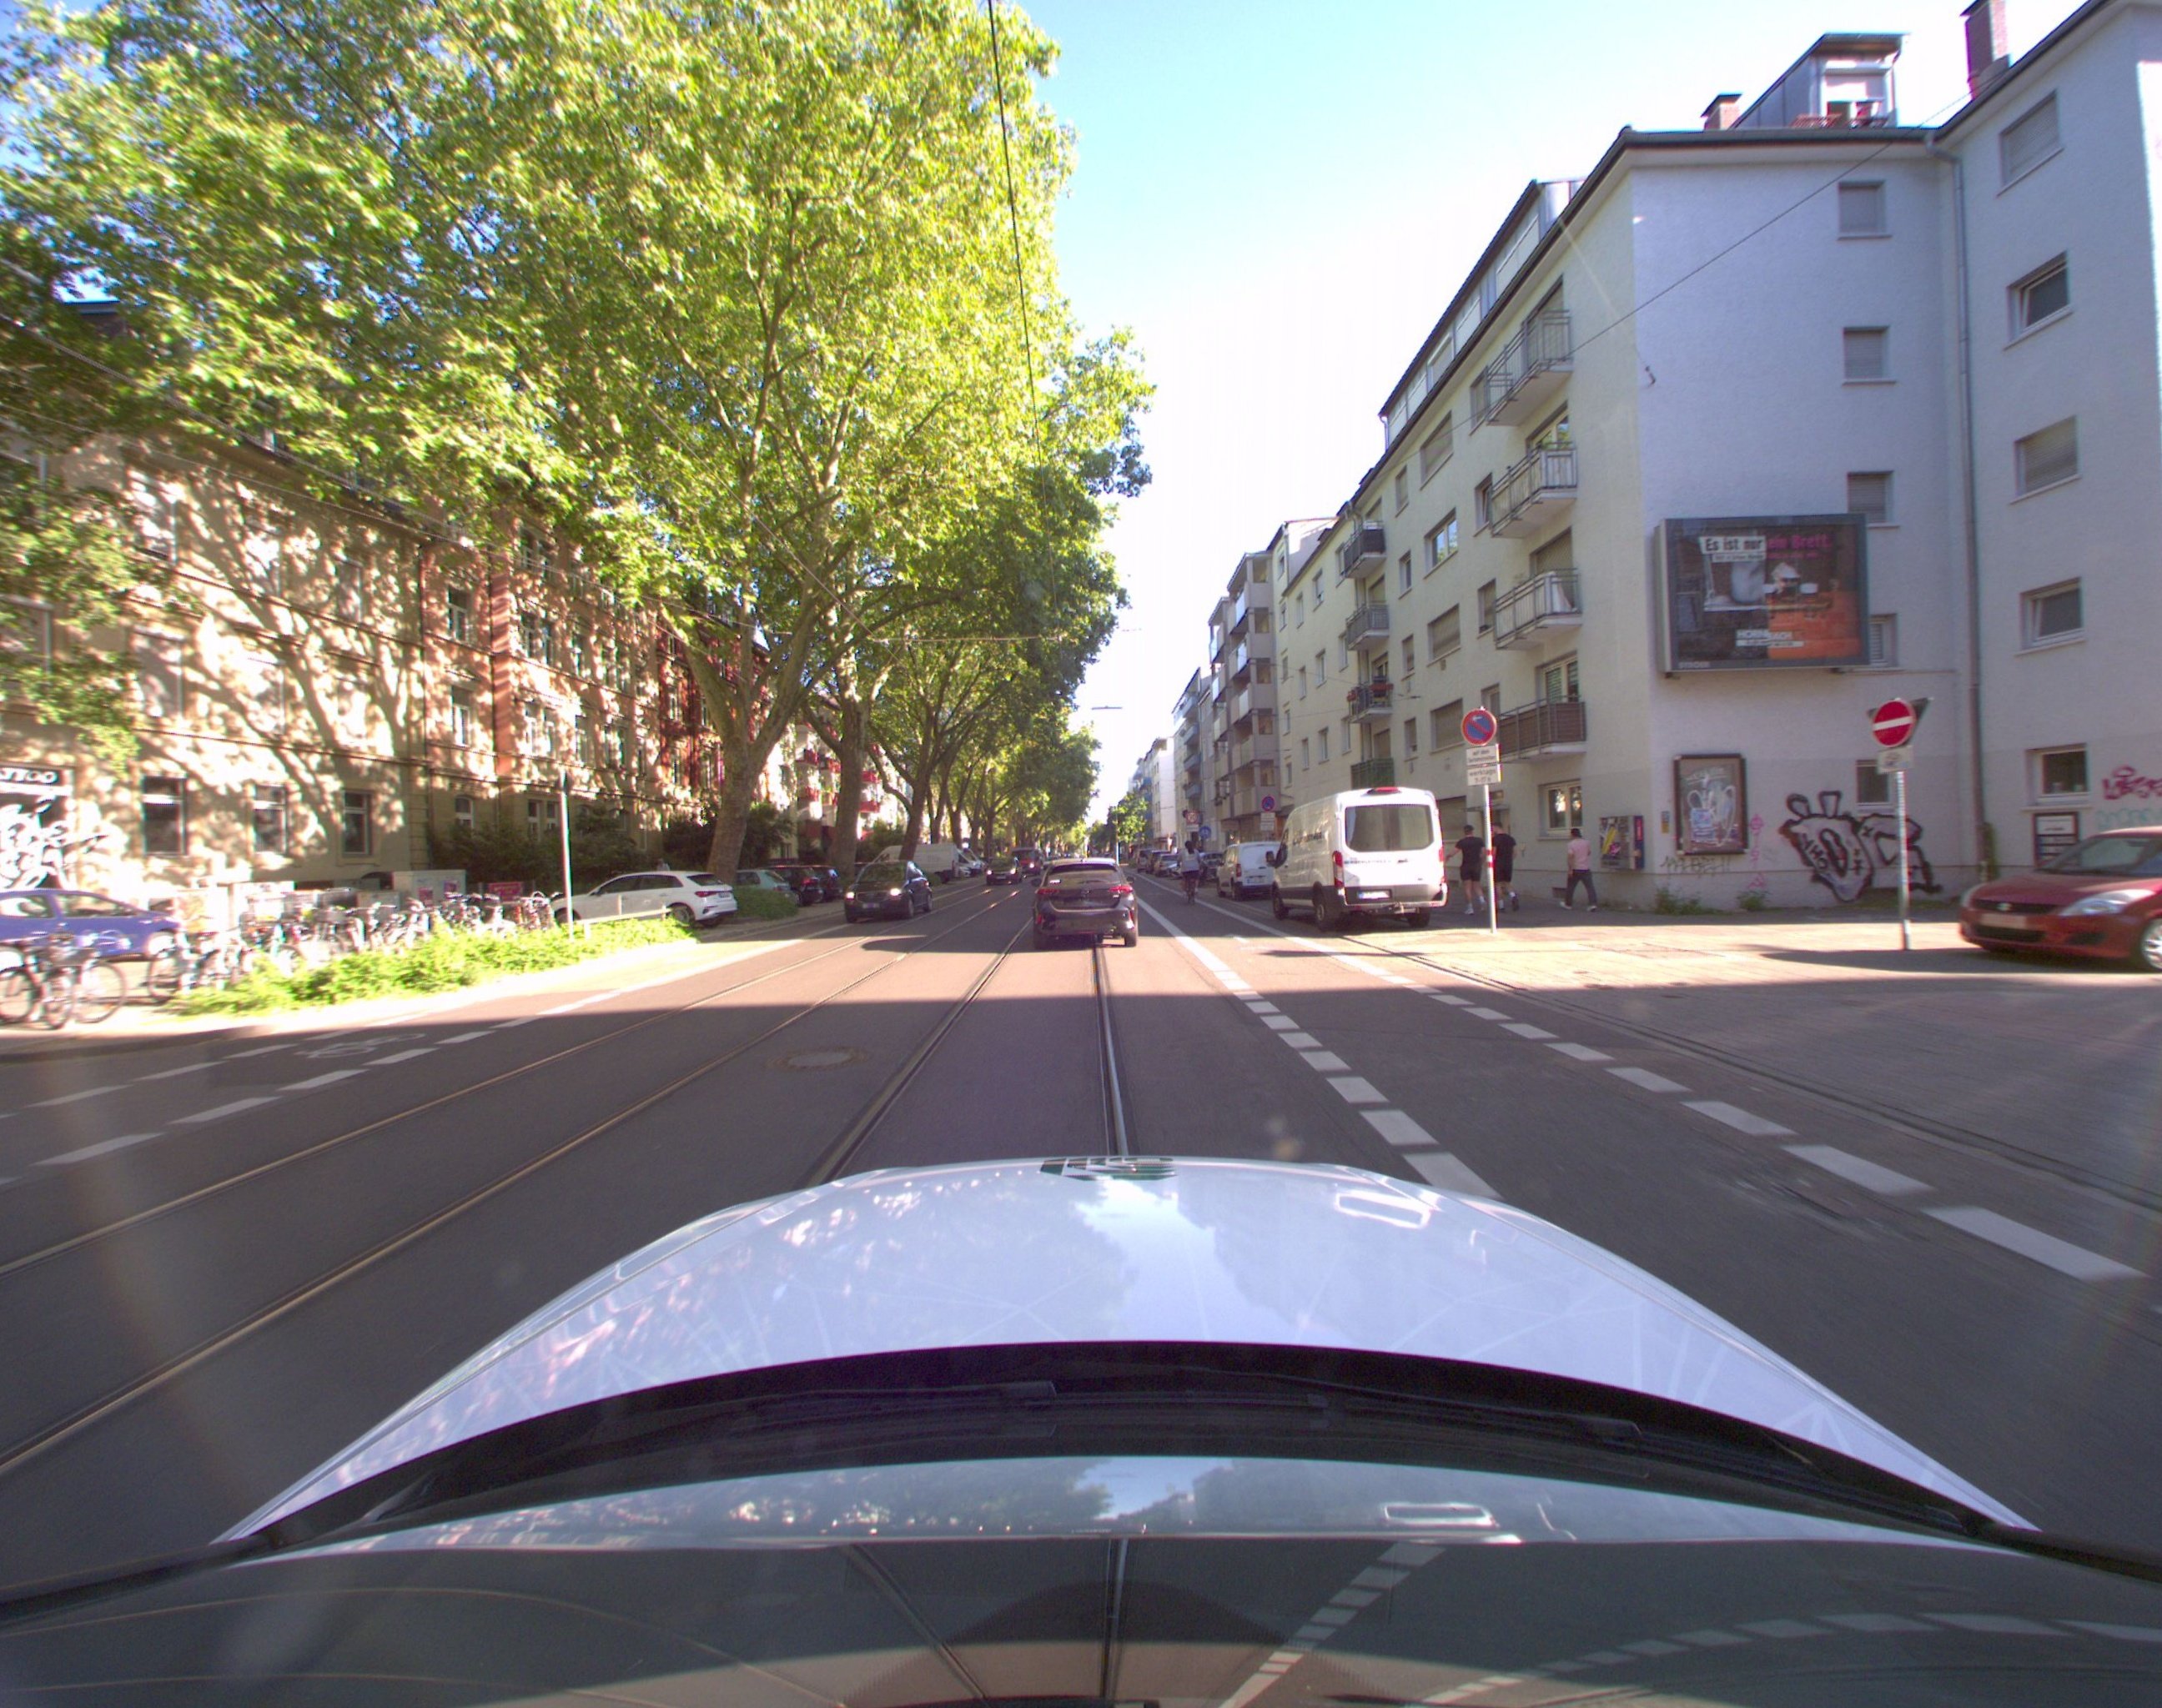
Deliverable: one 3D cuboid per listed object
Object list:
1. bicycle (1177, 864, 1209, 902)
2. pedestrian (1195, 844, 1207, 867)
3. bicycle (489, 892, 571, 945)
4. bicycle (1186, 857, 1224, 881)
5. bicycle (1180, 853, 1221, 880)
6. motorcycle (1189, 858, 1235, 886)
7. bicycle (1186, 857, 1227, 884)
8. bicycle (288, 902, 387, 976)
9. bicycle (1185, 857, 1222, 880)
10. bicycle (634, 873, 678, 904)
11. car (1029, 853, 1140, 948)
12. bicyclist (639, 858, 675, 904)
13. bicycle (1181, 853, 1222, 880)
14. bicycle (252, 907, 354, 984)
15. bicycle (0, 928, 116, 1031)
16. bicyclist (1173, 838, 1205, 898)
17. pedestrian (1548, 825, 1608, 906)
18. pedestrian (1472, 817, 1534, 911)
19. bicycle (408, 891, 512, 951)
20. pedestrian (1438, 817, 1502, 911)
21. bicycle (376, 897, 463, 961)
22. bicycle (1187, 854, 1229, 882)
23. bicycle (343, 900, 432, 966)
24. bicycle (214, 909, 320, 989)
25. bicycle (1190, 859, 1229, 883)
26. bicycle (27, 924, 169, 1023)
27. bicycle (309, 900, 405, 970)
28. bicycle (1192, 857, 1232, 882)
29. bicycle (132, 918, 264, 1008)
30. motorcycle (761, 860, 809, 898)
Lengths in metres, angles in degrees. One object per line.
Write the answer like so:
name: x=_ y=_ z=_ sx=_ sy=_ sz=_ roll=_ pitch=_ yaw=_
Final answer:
bicycle: x=3.381 y=0.867 z=24.719 sx=0.699 sy=1.092 sz=1.989 roll=0 pitch=-1 yaw=0
pedestrian: x=9.064 y=0.103 z=61.410 sx=0.754 sy=1.720 sz=0.719 roll=-2 pitch=0 yaw=-1
bicycle: x=-11.535 y=1.337 z=17.038 sx=1.784 sy=1.043 sz=0.601 roll=-2 pitch=0 yaw=27
bicycle: x=5.838 y=0.702 z=38.374 sx=1.647 sy=1.020 sz=0.457 roll=-4 pitch=0 yaw=-1
bicycle: x=5.836 y=0.598 z=39.836 sx=1.886 sy=1.191 sz=0.457 roll=-4 pitch=0 yaw=-1
motorcycle: x=5.624 y=0.760 z=34.907 sx=1.802 sy=1.080 sz=0.621 roll=-3 pitch=-1 yaw=23
bicycle: x=5.519 y=0.720 z=35.877 sx=1.647 sy=1.055 sz=0.457 roll=-4 pitch=0 yaw=-1
bicycle: x=-11.598 y=1.317 z=12.702 sx=1.545 sy=1.088 sz=0.398 roll=-2 pitch=0 yaw=18
bicycle: x=5.841 y=0.704 z=38.877 sx=1.647 sy=0.966 sz=0.457 roll=-4 pitch=0 yaw=-1
bicycle: x=-16.713 y=1.342 z=32.091 sx=0.740 sy=1.138 sz=1.780 roll=-2 pitch=0 yaw=0
car: x=0.053 y=0.717 z=14.277 sx=1.674 sy=1.422 sz=3.627 roll=-1 pitch=0 yaw=0
bicyclist: x=-16.693 y=1.051 z=32.089 sx=0.828 sy=1.763 sz=1.048 roll=-2 pitch=0 yaw=0
bicycle: x=5.824 y=0.598 z=39.349 sx=1.817 sy=1.191 sz=0.457 roll=-4 pitch=0 yaw=-1
bicycle: x=-11.728 y=1.379 z=12.272 sx=1.545 sy=1.088 sz=0.398 roll=-2 pitch=0 yaw=18
bicycle: x=-11.911 y=1.418 z=9.339 sx=1.841 sy=1.088 sz=0.398 roll=-2 pitch=0 yaw=18
bicyclist: x=3.233 y=0.422 z=24.511 sx=0.784 sy=1.759 sz=0.914 roll=-2 pitch=0 yaw=0
pedestrian: x=9.933 y=0.224 z=16.306 sx=0.629 sy=1.580 sz=0.933 roll=0 pitch=-1 yaw=2
pedestrian: x=8.607 y=0.201 z=16.633 sx=0.622 sy=1.822 sz=1.082 roll=-3 pitch=-1 yaw=2
bicycle: x=-12.132 y=1.315 z=15.902 sx=1.903 sy=1.088 sz=0.600 roll=-2 pitch=0 yaw=18
pedestrian: x=7.936 y=0.210 z=16.646 sx=0.707 sy=1.822 sz=1.082 roll=-3 pitch=-1 yaw=2
bicycle: x=-11.868 y=1.342 z=14.602 sx=1.545 sy=1.088 sz=0.398 roll=-2 pitch=0 yaw=18
bicycle: x=5.875 y=0.645 z=37.682 sx=1.788 sy=1.148 sz=0.704 roll=-4 pitch=0 yaw=0
bicycle: x=-12.037 y=1.372 z=14.135 sx=1.545 sy=1.088 sz=0.398 roll=-2 pitch=0 yaw=18
bicycle: x=-11.806 y=1.376 z=11.810 sx=1.545 sy=1.088 sz=0.398 roll=-2 pitch=0 yaw=18
bicycle: x=5.817 y=0.774 z=36.972 sx=1.647 sy=0.987 sz=0.457 roll=-4 pitch=0 yaw=-1
bicycle: x=-11.793 y=1.416 z=9.764 sx=1.841 sy=1.088 sz=0.398 roll=-2 pitch=0 yaw=18
bicycle: x=-11.810 y=1.320 z=13.280 sx=1.545 sy=1.088 sz=0.398 roll=-2 pitch=0 yaw=18
bicycle: x=5.833 y=0.700 z=36.405 sx=1.647 sy=0.987 sz=0.457 roll=-4 pitch=0 yaw=-1
bicycle: x=-11.509 y=1.403 z=10.611 sx=1.841 sy=1.088 sz=0.398 roll=-2 pitch=0 yaw=18
motorcycle: x=-13.392 y=1.095 z=36.997 sx=1.048 sy=1.631 sz=3.011 roll=0 pitch=-1 yaw=0
